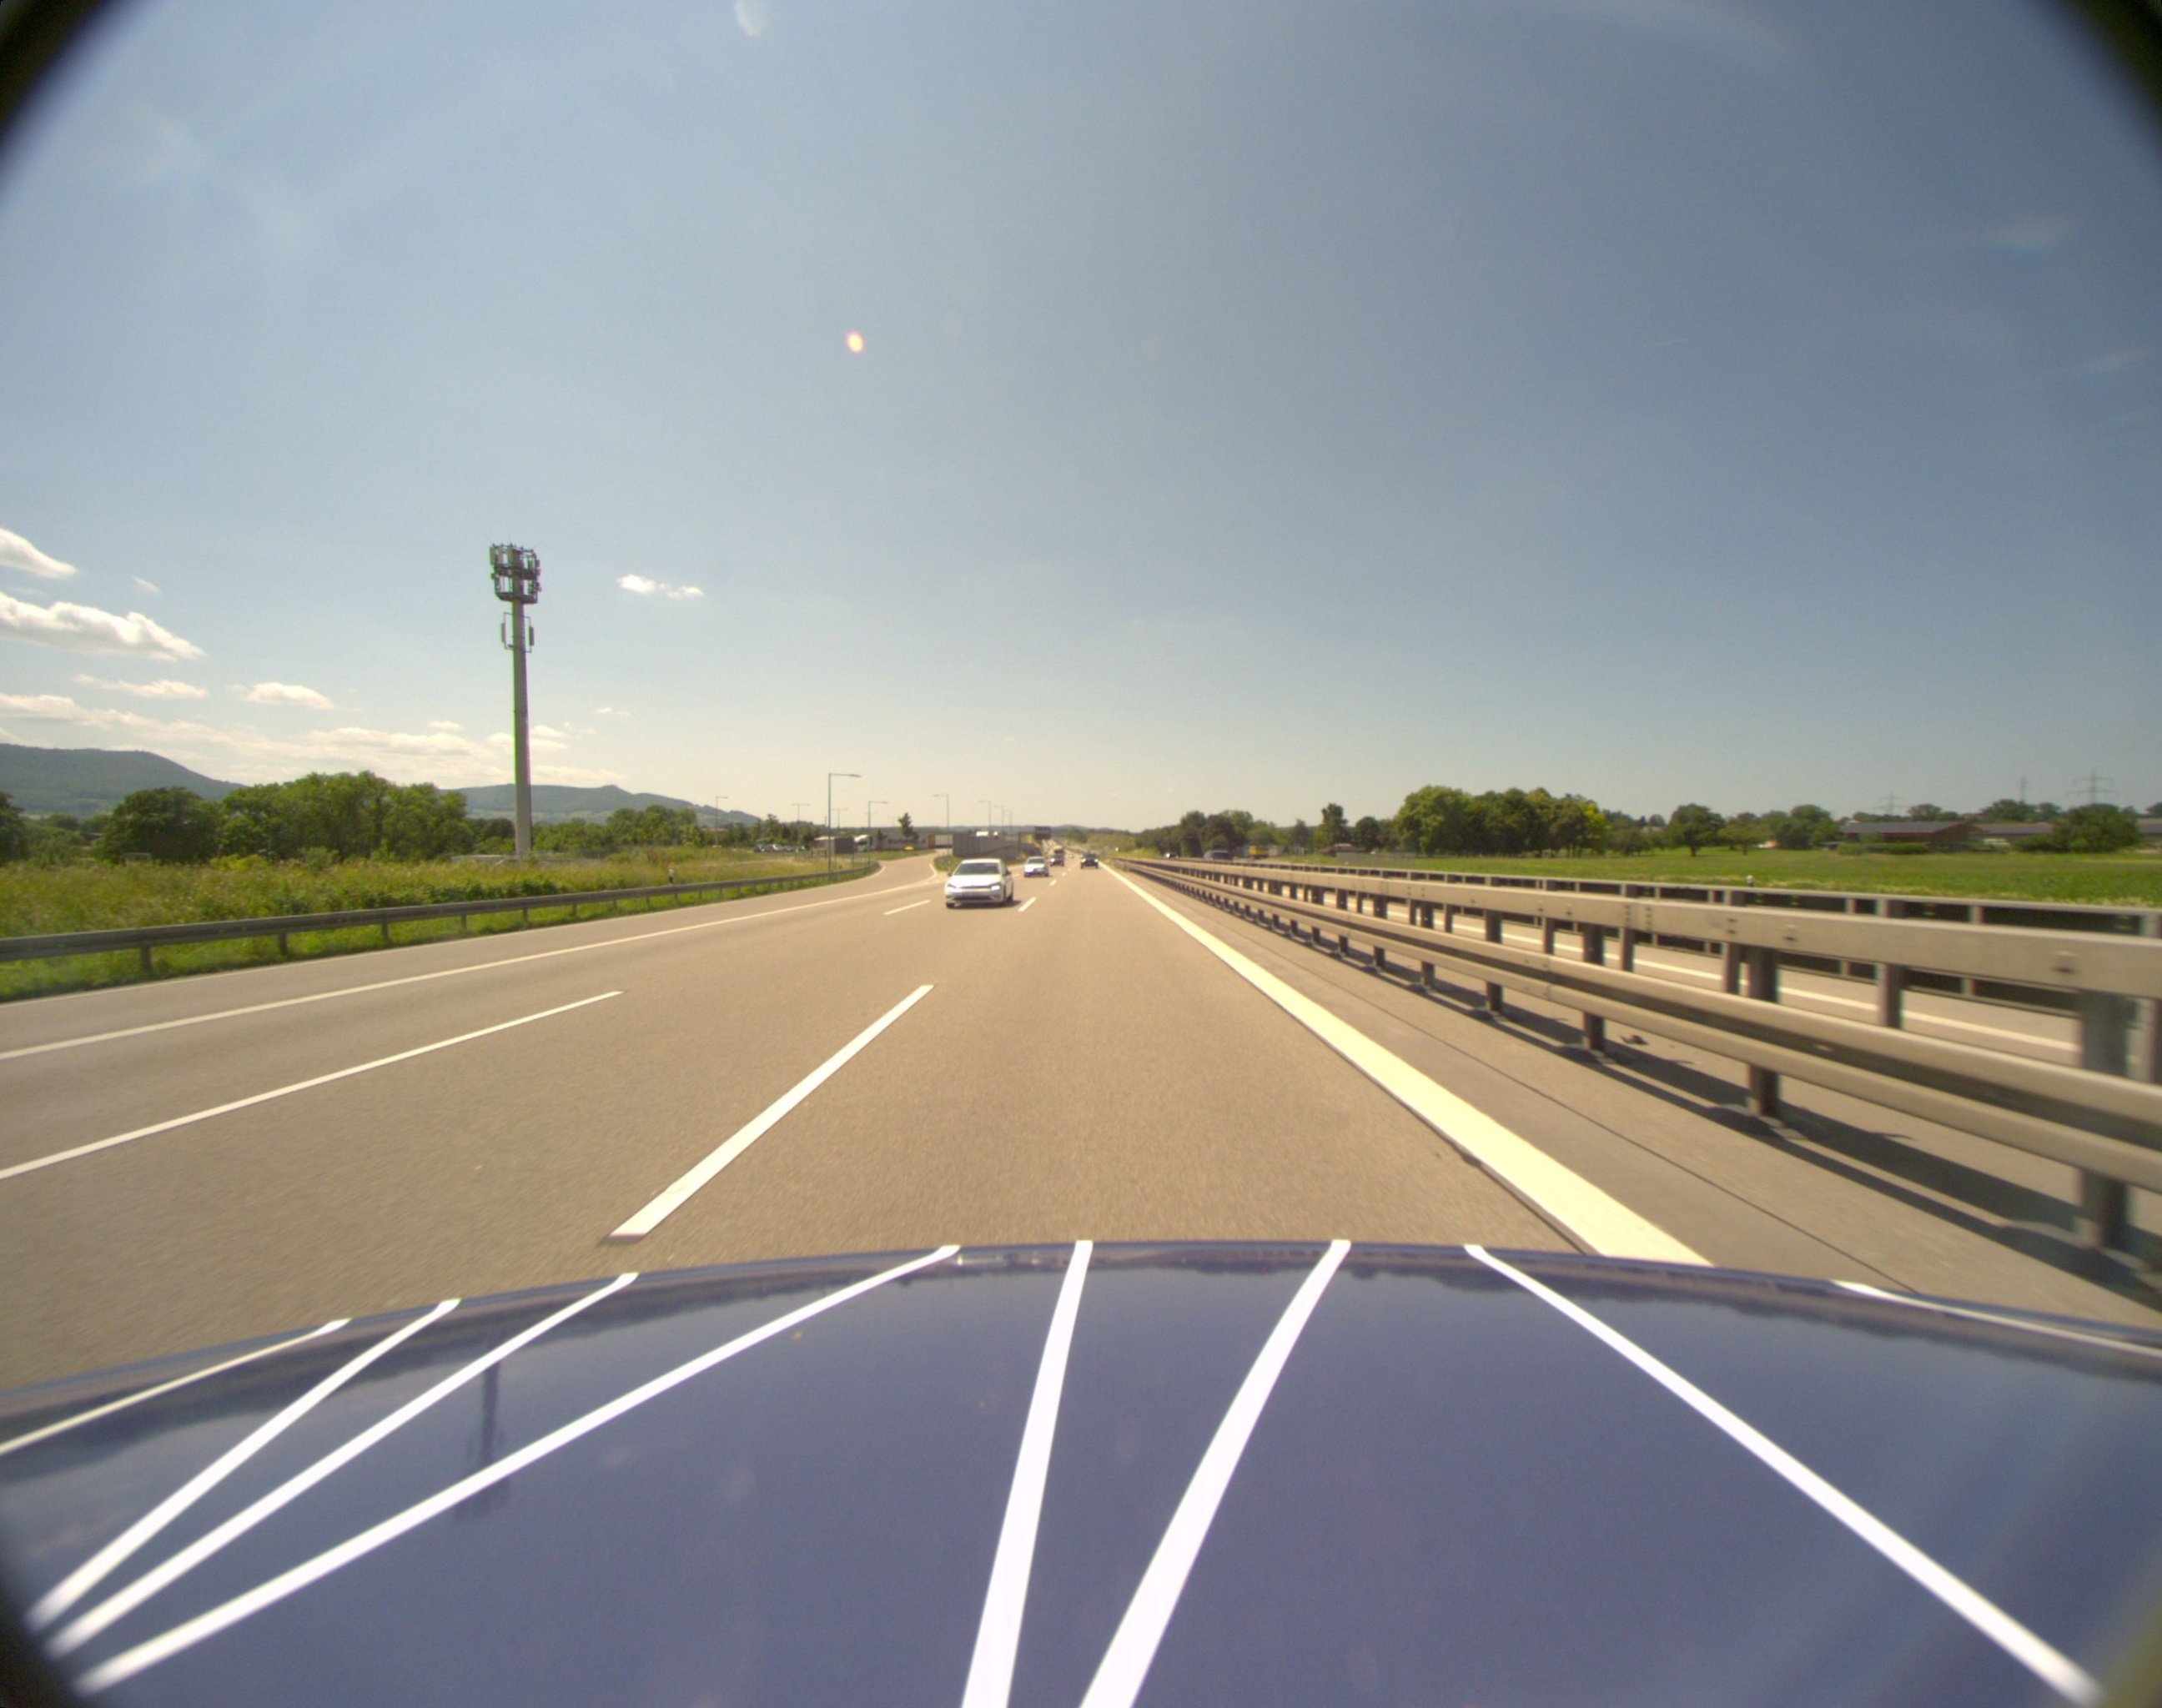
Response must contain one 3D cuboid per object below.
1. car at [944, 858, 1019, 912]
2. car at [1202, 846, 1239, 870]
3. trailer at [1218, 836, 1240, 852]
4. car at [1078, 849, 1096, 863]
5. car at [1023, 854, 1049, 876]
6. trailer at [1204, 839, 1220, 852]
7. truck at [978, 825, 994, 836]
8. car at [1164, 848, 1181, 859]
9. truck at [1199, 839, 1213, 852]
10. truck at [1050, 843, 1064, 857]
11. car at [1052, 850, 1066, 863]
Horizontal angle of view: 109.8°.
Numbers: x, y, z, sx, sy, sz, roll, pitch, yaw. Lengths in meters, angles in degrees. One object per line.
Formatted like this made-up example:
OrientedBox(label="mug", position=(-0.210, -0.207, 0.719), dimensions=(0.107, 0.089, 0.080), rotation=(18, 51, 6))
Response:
OrientedBox(label="car", position=(-3.115, 0.921, 24.662), dimensions=(1.780, 1.425, 4.690), rotation=(-2, 1, 0))
OrientedBox(label="car", position=(9.928, 0.251, 54.407), dimensions=(1.815, 1.631, 4.427), rotation=(1, 1, 1))
OrientedBox(label="trailer", position=(38.032, -2.574, 195.464), dimensions=(2.775, 3.757, 14.408), rotation=(-2, 1, 0))
OrientedBox(label="car", position=(0.614, 0.180, 79.826), dimensions=(1.751, 1.439, 3.999), rotation=(0, 0, -1))
OrientedBox(label="car", position=(-3.190, 0.774, 54.561), dimensions=(1.634, 1.381, 3.999), rotation=(-2, 1, -1))
OrientedBox(label="trailer", position=(37.340, -2.443, 216.761), dimensions=(2.552, 3.641, 8.710), rotation=(-2, 1, -2))
OrientedBox(label="truck", position=(-20.528, -5.108, 164.588), dimensions=(2.715, 2.192, 7.285), rotation=(-2, 1, -1))
OrientedBox(label="car", position=(12.385, -0.113, 102.550), dimensions=(1.824, 1.436, 4.000), rotation=(1, 1, 1))
OrientedBox(label="truck", position=(37.065, -2.578, 225.314), dimensions=(2.561, 3.613, 8.394), rotation=(-2, 1, -2))
OrientedBox(label="truck", position=(-7.197, -1.151, 226.668), dimensions=(3.368, 4.038, 11.731), rotation=(-2, 1, -4))
OrientedBox(label="car", position=(-2.822, 0.287, 97.690), dimensions=(1.751, 1.559, 3.999), rotation=(-2, 1, -1))
